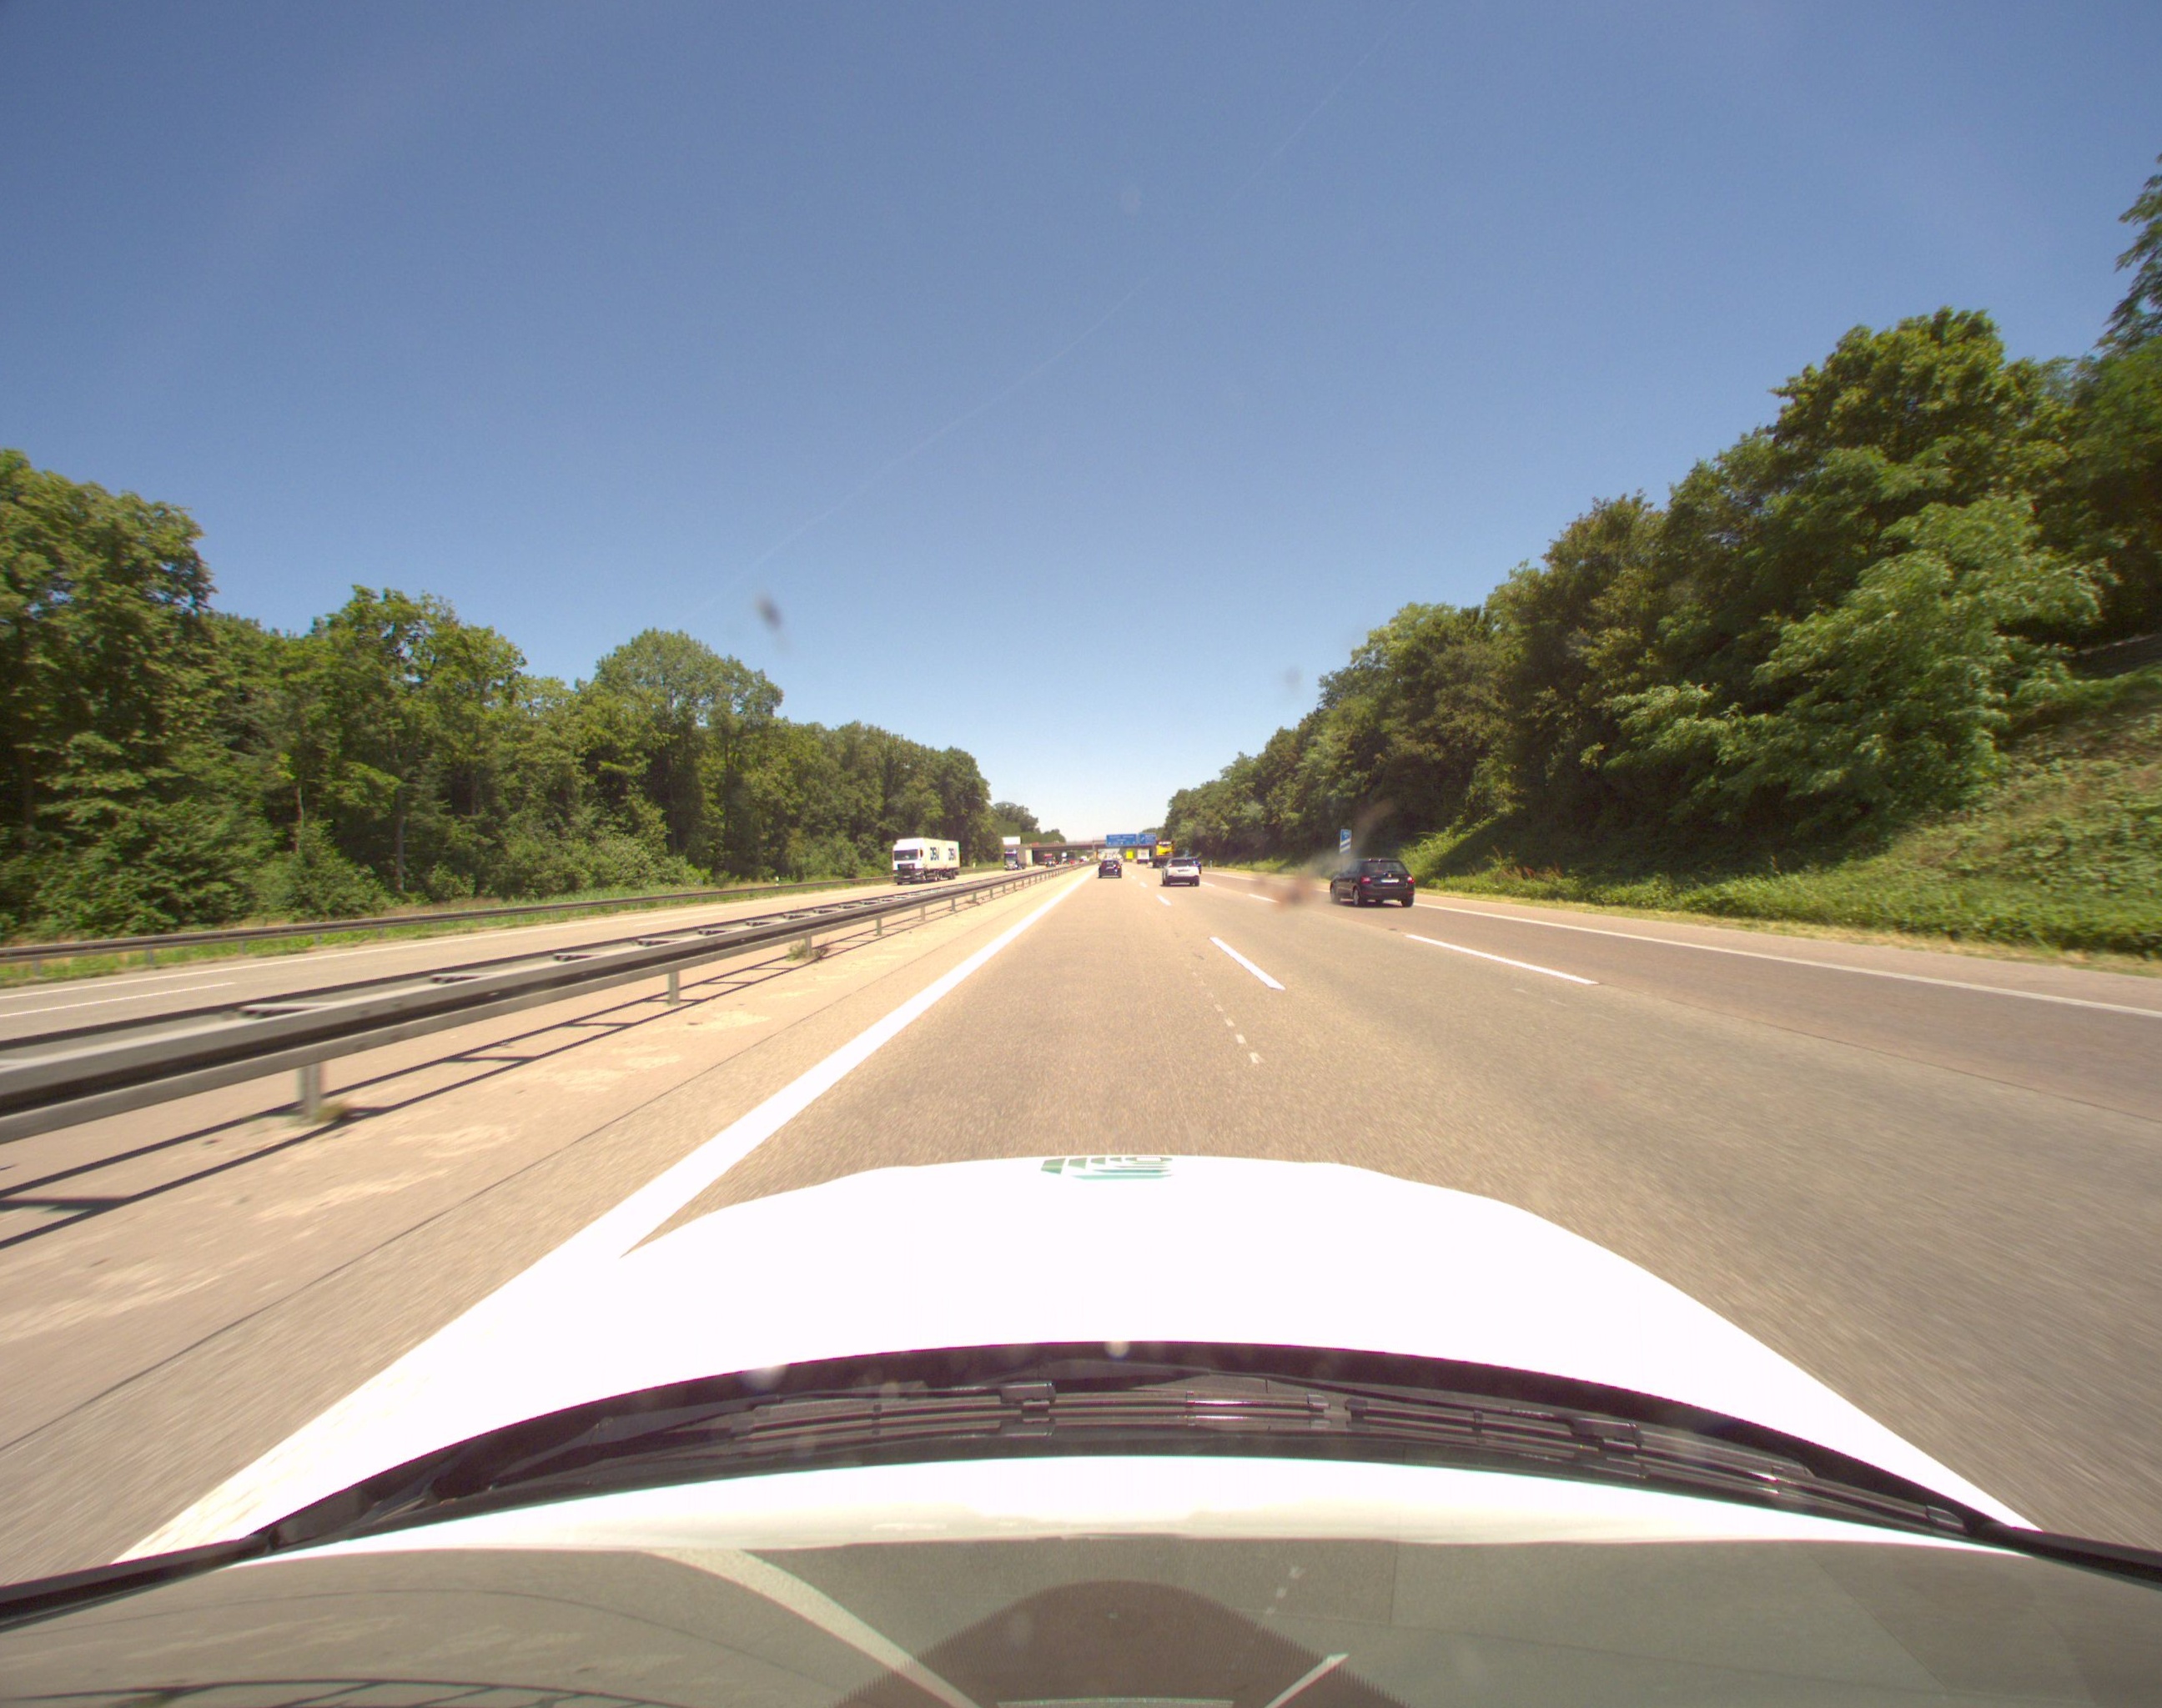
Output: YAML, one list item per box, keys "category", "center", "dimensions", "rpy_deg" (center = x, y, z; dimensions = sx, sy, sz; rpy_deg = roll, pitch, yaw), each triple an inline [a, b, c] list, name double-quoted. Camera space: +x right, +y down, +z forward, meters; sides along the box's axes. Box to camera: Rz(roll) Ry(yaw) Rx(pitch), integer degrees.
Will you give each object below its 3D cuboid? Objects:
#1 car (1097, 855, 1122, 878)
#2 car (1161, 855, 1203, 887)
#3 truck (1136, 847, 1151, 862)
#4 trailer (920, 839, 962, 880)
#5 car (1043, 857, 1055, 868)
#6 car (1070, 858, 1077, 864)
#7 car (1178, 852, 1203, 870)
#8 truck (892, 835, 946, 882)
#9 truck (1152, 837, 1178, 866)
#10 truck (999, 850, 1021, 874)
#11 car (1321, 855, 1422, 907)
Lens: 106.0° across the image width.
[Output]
- category: "car"
  center: [2.211, 0.985, 63.255]
  dimensions: [1.820, 1.706, 4.001]
  rpy_deg: [0, -1, 2]
- category: "car"
  center: [5.490, 0.914, 44.789]
  dimensions: [1.820, 1.608, 4.810]
  rpy_deg: [-1, -1, 2]
- category: "truck"
  center: [14.715, 0.120, 191.880]
  dimensions: [3.013, 3.319, 10.789]
  rpy_deg: [0, -1, 6]
- category: "trailer"
  center: [-14.382, 0.564, 84.269]
  dimensions: [2.569, 3.989, 8.562]
  rpy_deg: [0, -1, 2]
- category: "car"
  center: [-6.825, 1.811, 174.307]
  dimensions: [1.986, 2.013, 5.361]
  rpy_deg: [-4, -1, 2]
- category: "car"
  center: [-1.999, 1.927, 215.747]
  dimensions: [1.724, 1.585, 4.648]
  rpy_deg: [0, -1, 3]
- category: "car"
  center: [10.056, 0.656, 75.112]
  dimensions: [1.863, 1.556, 4.203]
  rpy_deg: [0, -1, 2]
- category: "truck"
  center: [-14.734, 0.429, 74.820]
  dimensions: [2.571, 4.008, 10.342]
  rpy_deg: [0, -1, 2]
- category: "truck"
  center: [12.194, -0.288, 118.774]
  dimensions: [2.963, 4.037, 10.986]
  rpy_deg: [0, -1, 2]
- category: "truck"
  center: [-13.066, 1.456, 150.266]
  dimensions: [3.311, 4.342, 6.615]
  rpy_deg: [0, -1, 2]
- category: "car"
  center: [8.943, 0.792, 25.478]
  dimensions: [1.663, 1.447, 4.575]
  rpy_deg: [0, -1, 2]
